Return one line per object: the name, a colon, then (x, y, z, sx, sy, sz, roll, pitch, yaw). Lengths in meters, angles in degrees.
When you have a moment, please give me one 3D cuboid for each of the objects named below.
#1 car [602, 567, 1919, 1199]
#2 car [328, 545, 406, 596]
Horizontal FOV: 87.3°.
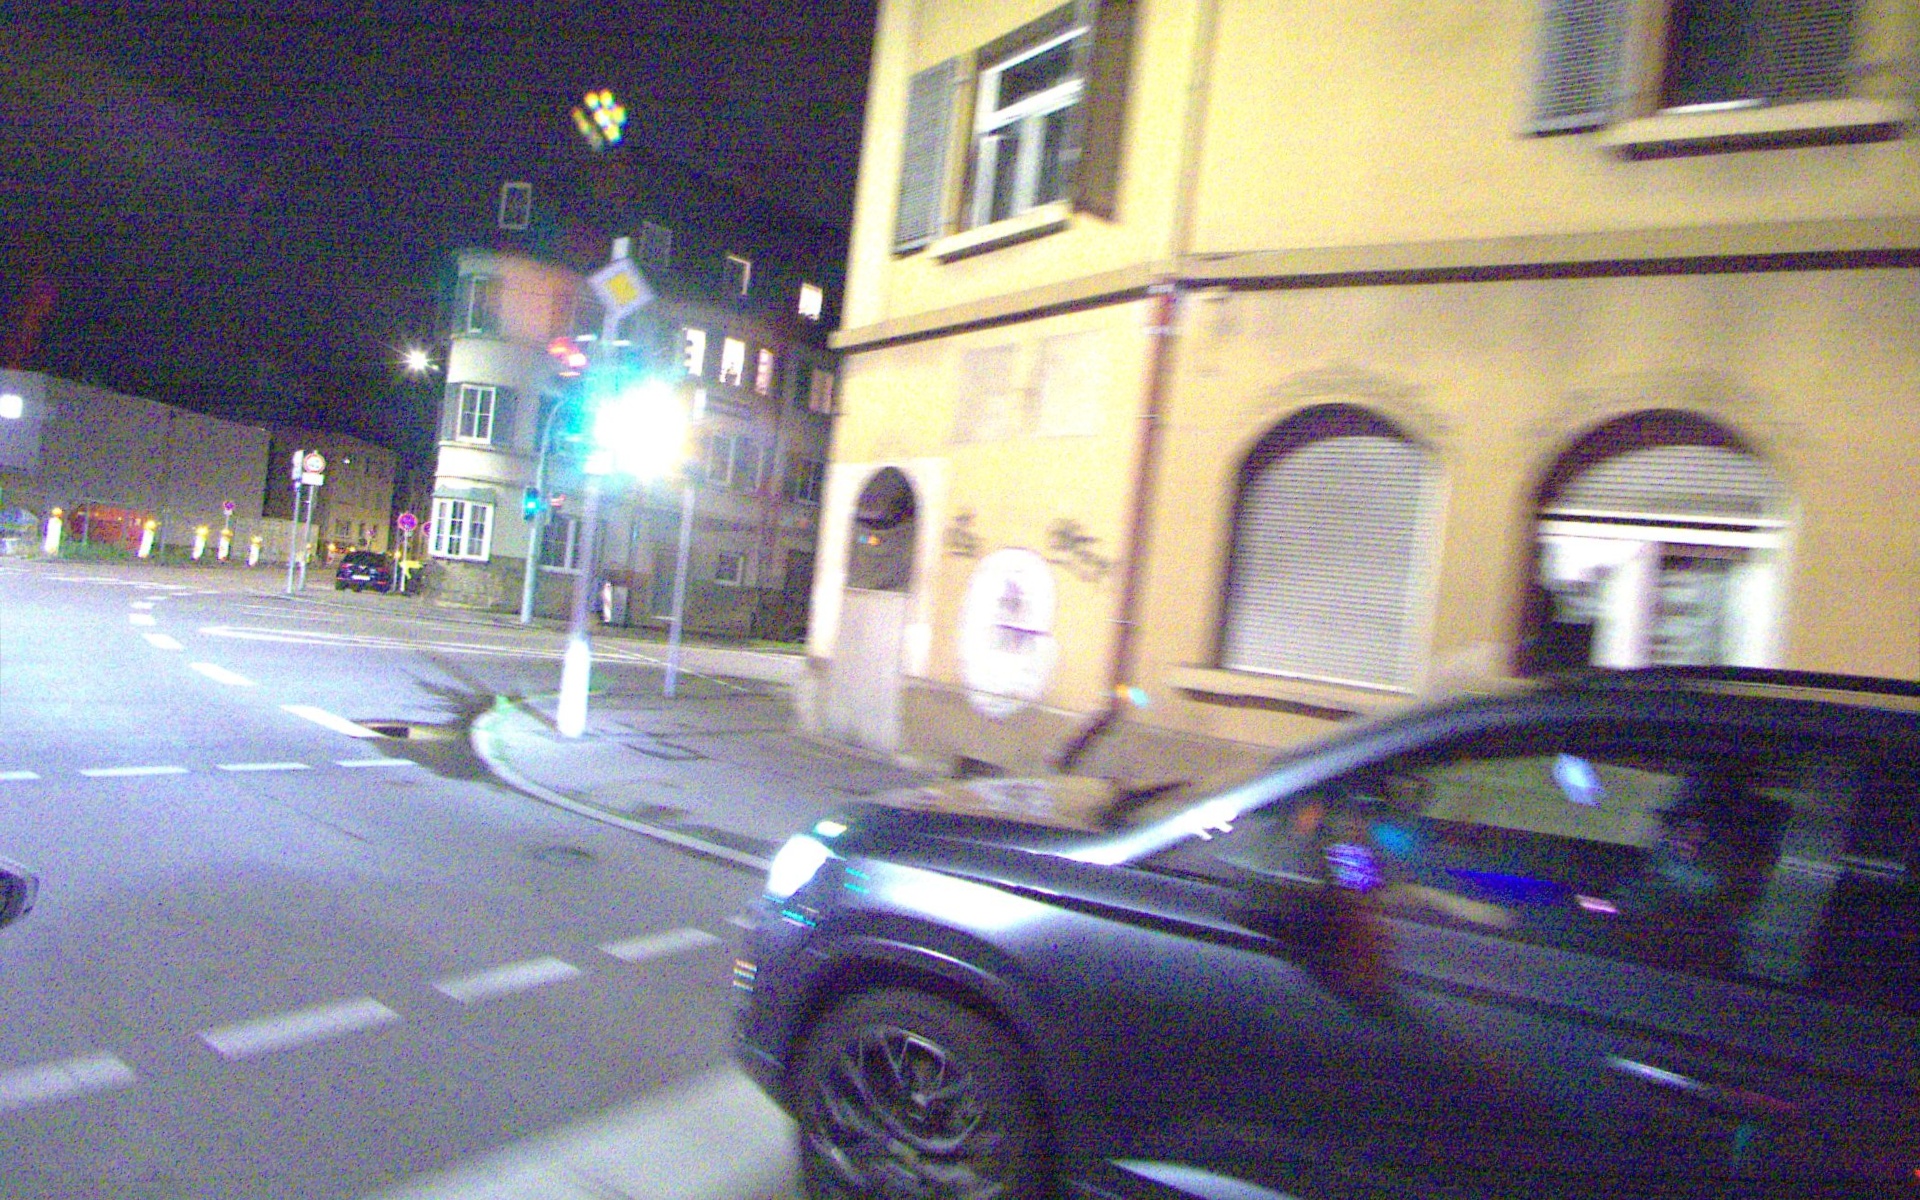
car: (1.389, 0.956, 2.258, 4.157, 1.629, 1.674, 5, -2, 29)
car: (-22.133, -1.072, 37.693, 1.708, 1.631, 3.610, 6, -1, -19)
